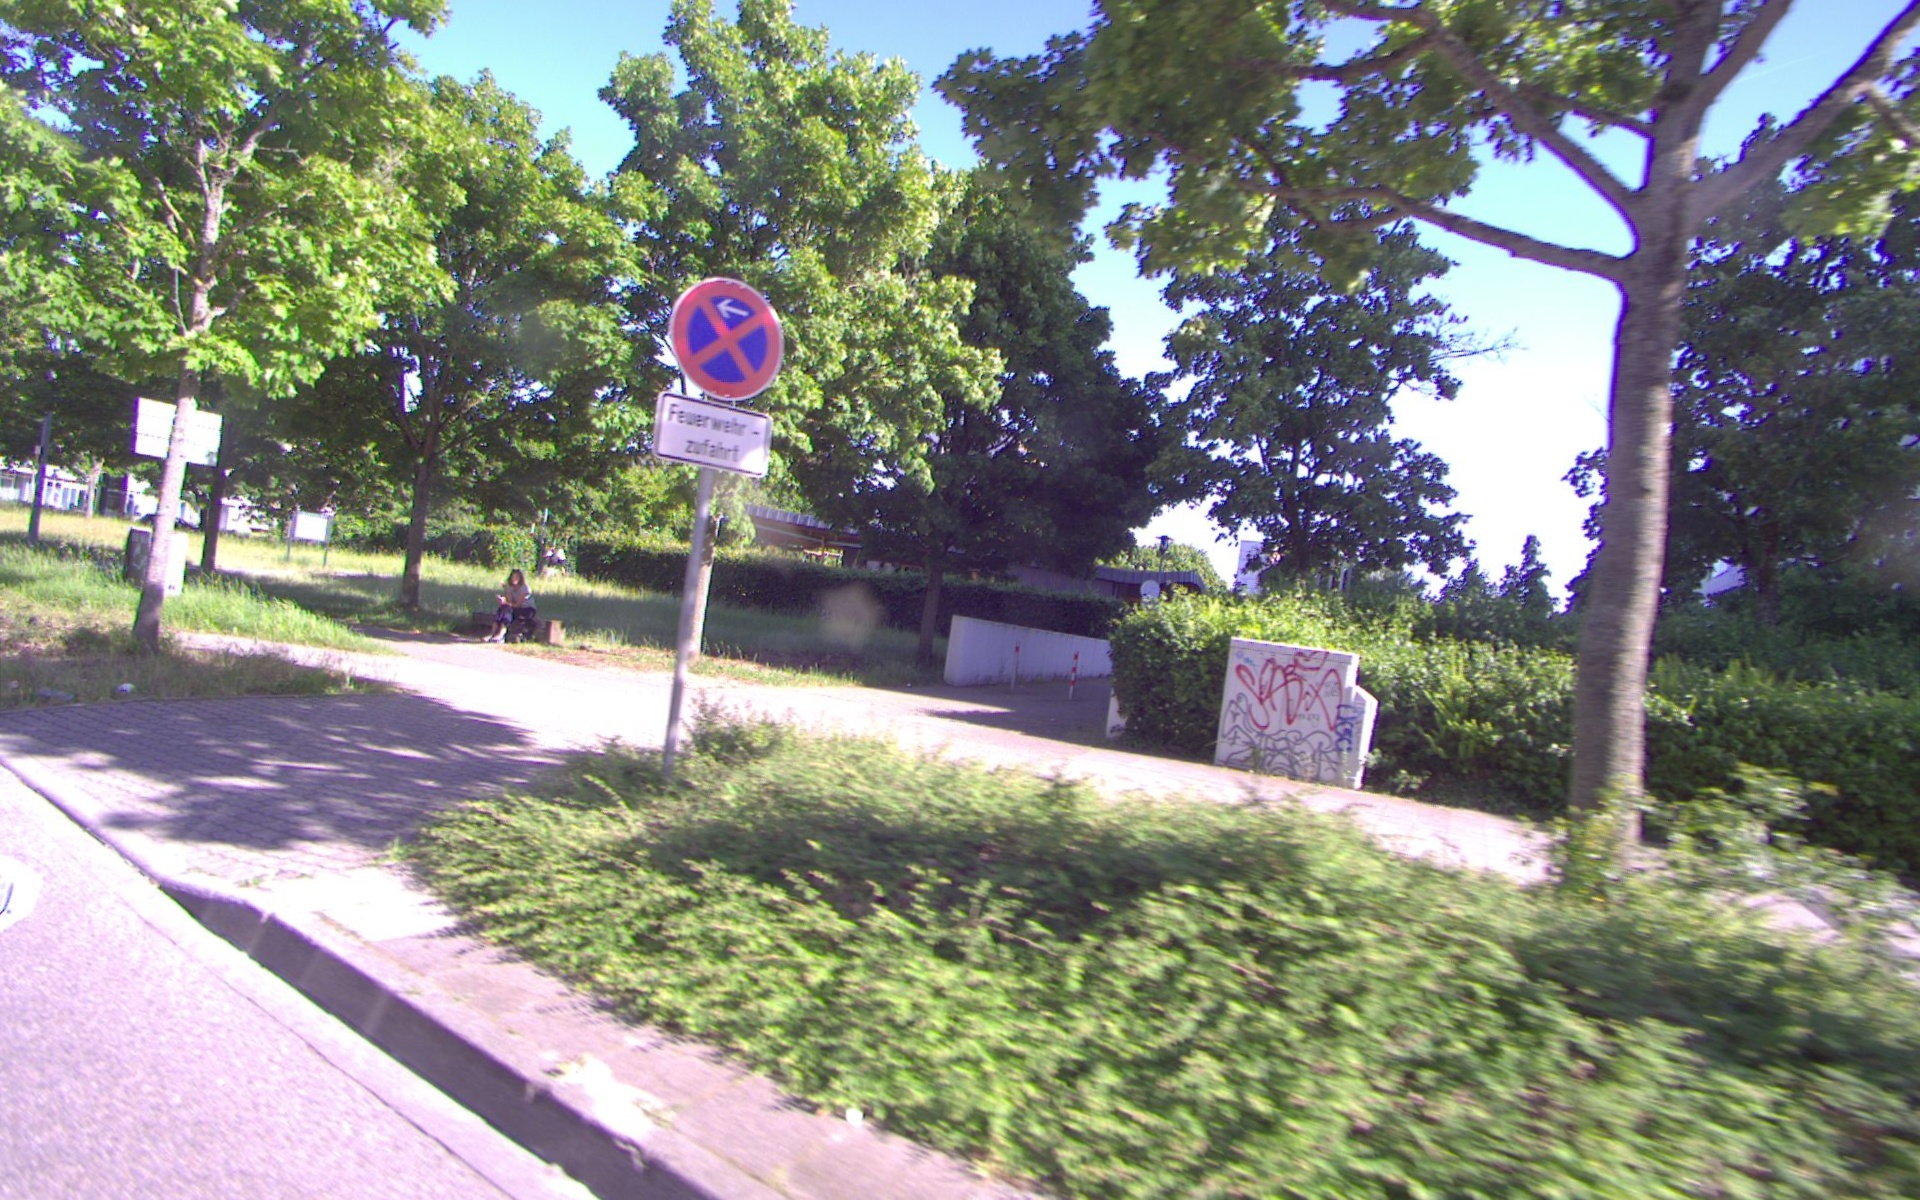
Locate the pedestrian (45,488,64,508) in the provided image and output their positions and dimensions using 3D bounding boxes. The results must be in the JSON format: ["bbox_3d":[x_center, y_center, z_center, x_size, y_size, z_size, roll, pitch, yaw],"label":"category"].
[{"bbox_3d":[-86.132,-9.720,95.714,0.642,1.744,0.992,8,0,26],"label":"pedestrian"}]

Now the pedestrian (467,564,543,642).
[{"bbox_3d":[-7.853,0.065,17.384,0.715,1.232,0.847,7,1,15],"label":"pedestrian"}]

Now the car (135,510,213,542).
[{"bbox_3d":[-55.470,-5.193,71.066,1.646,1.619,3.961,7,-1,26],"label":"car"}]
